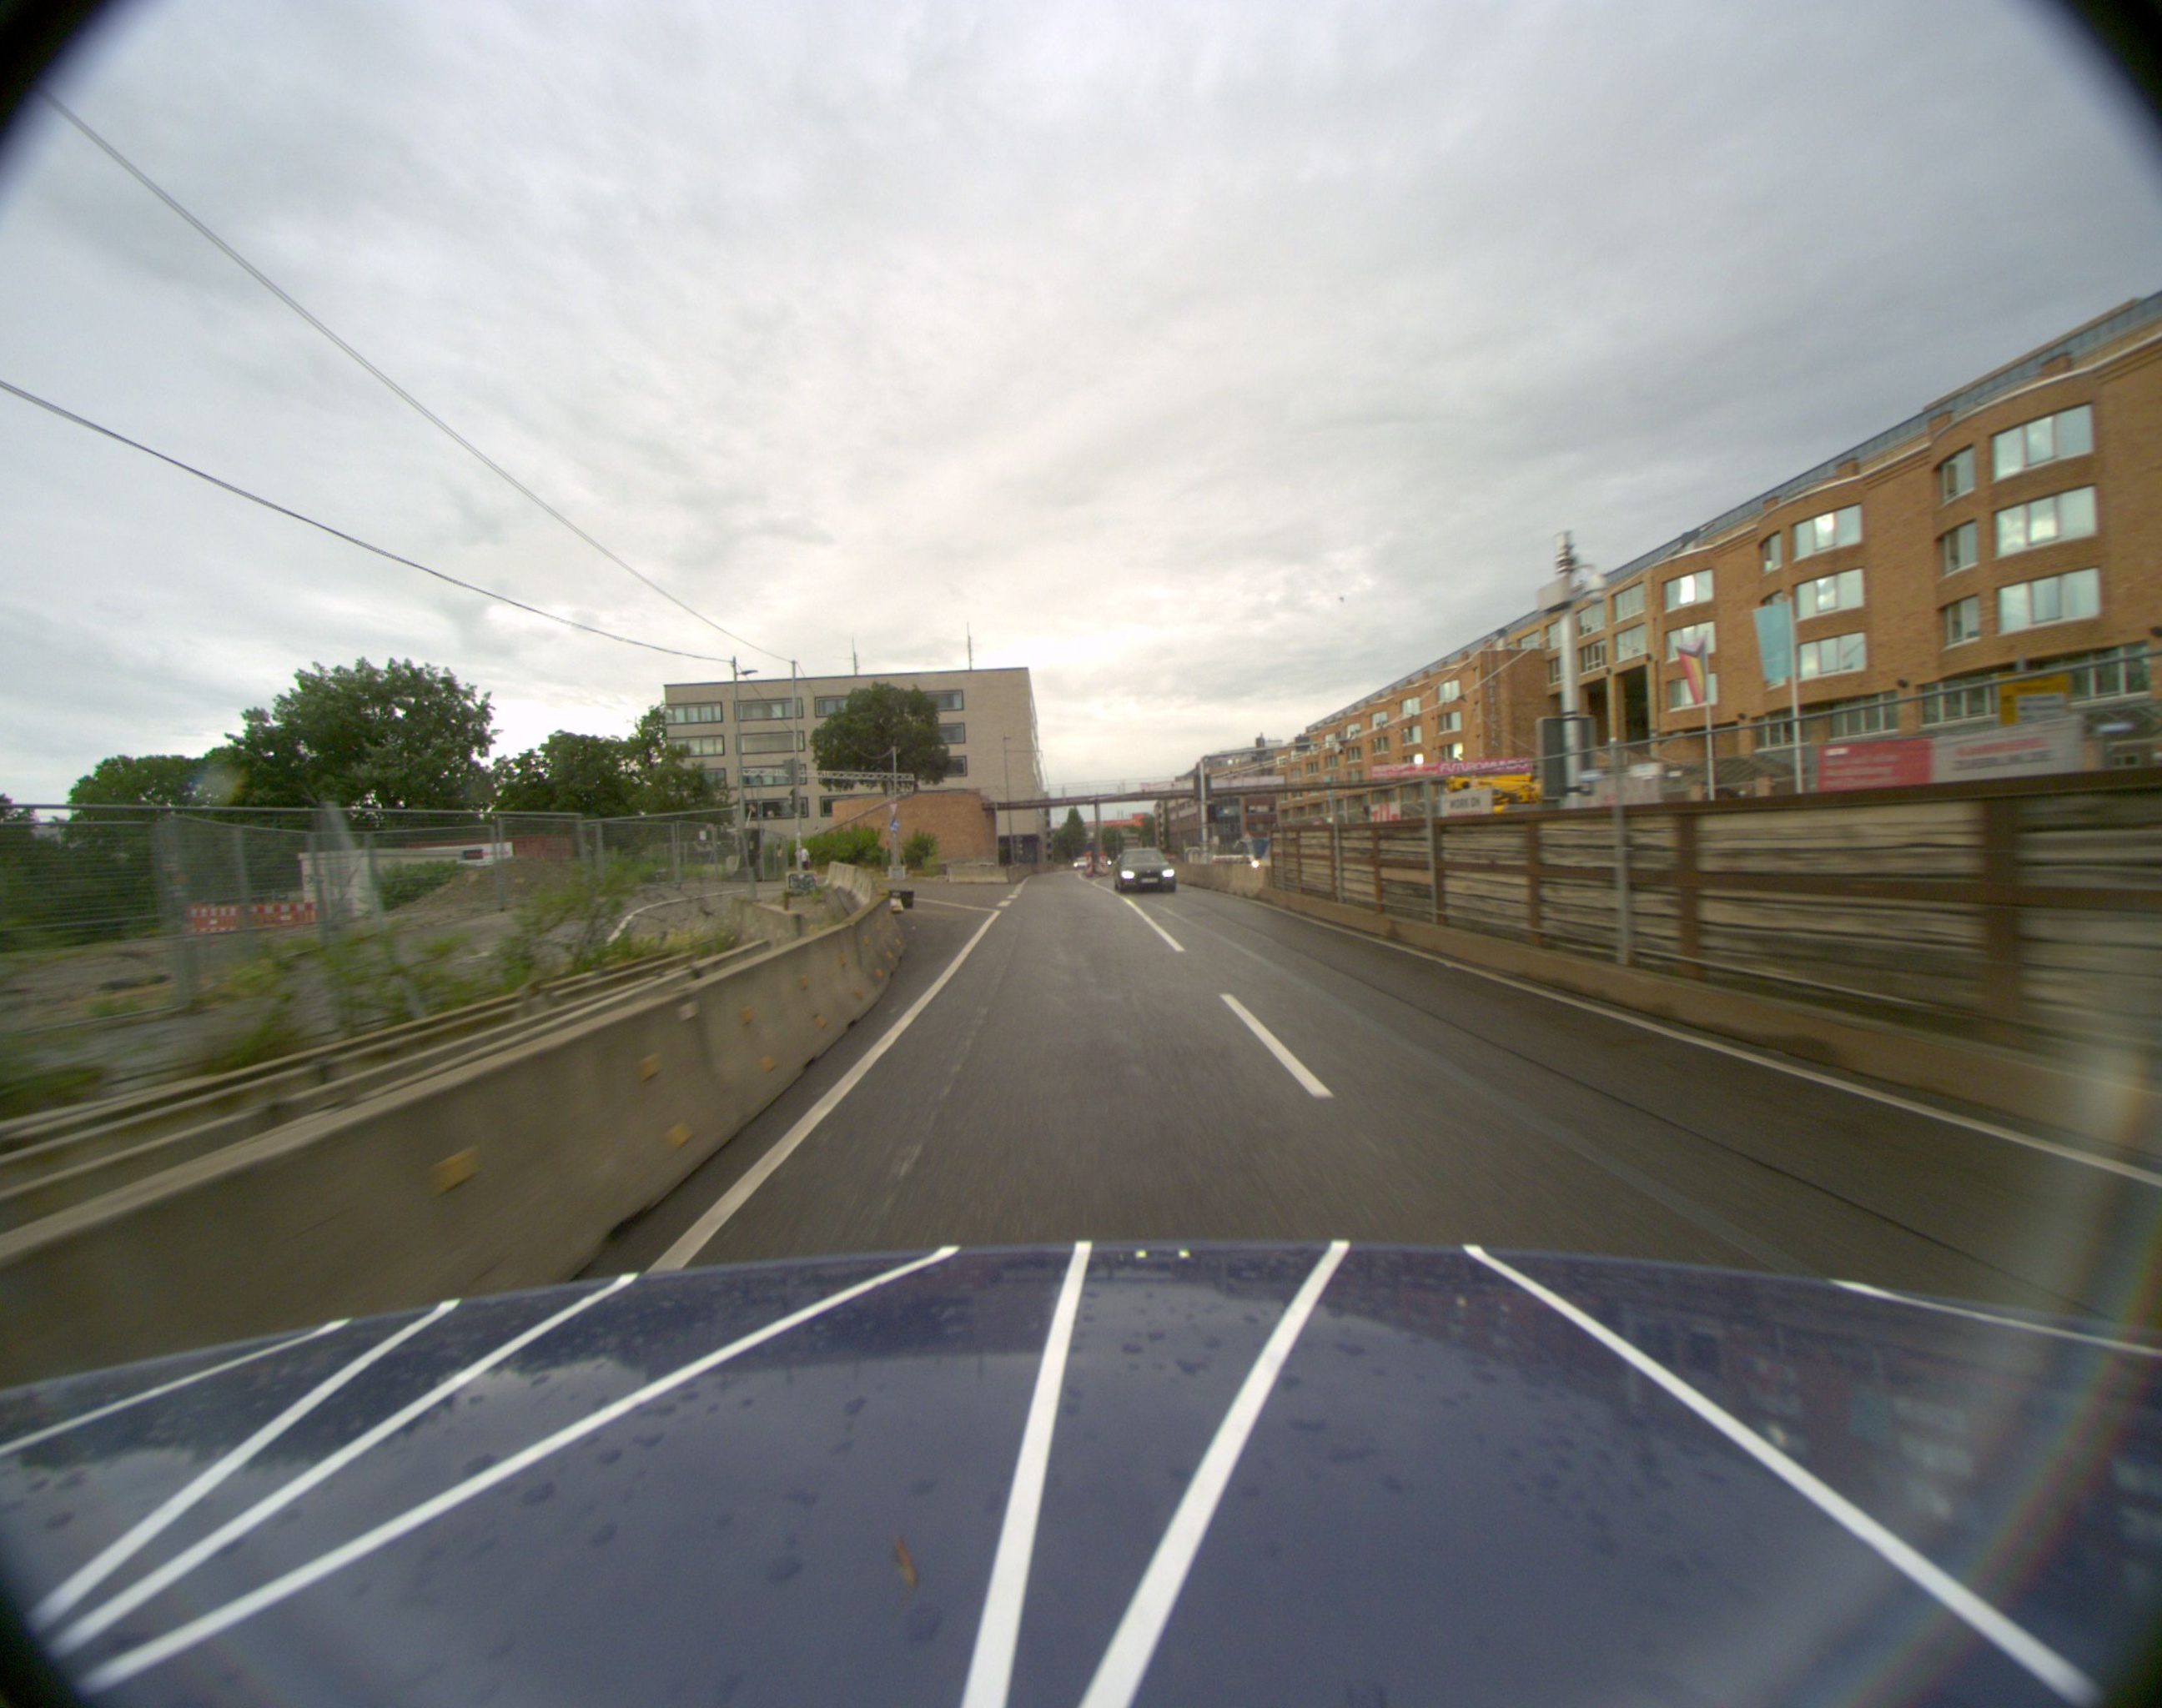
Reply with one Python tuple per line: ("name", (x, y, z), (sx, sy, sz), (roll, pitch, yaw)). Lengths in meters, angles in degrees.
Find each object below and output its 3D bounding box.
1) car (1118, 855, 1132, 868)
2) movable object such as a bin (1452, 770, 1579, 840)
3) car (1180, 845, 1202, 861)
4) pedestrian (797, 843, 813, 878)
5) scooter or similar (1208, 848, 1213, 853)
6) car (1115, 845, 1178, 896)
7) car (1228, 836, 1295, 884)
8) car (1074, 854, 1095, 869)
("car", (5.912, 0.968, 102.350), (1.772, 1.524, 4.657), (-4, 0, 4))
("movable object such as a bin", (15.722, -1.688, 27.806), (2.032, 2.264, 4.291), (0, 0, -3))
("car", (13.541, -0.061, 94.076), (1.810, 1.810, 5.301), (-3, -1, -1))
("pedestrian", (-14.371, 0.322, 39.616), (0.692, 1.768, 0.814), (-3, 2, -18))
("scooter or similar", (25.655, -0.683, 150.538), (0.450, 1.056, 1.044), (-3, 0, -12))
("car", (2.087, 0.510, 25.269), (1.772, 1.435, 4.657), (-4, 0, 2))
("car", (7.547, 0.237, 32.216), (1.798, 1.790, 4.251), (-4, 0, 1))
("car", (0.479, 0.878, 87.506), (1.771, 1.524, 4.659), (-4, 0, 7))
